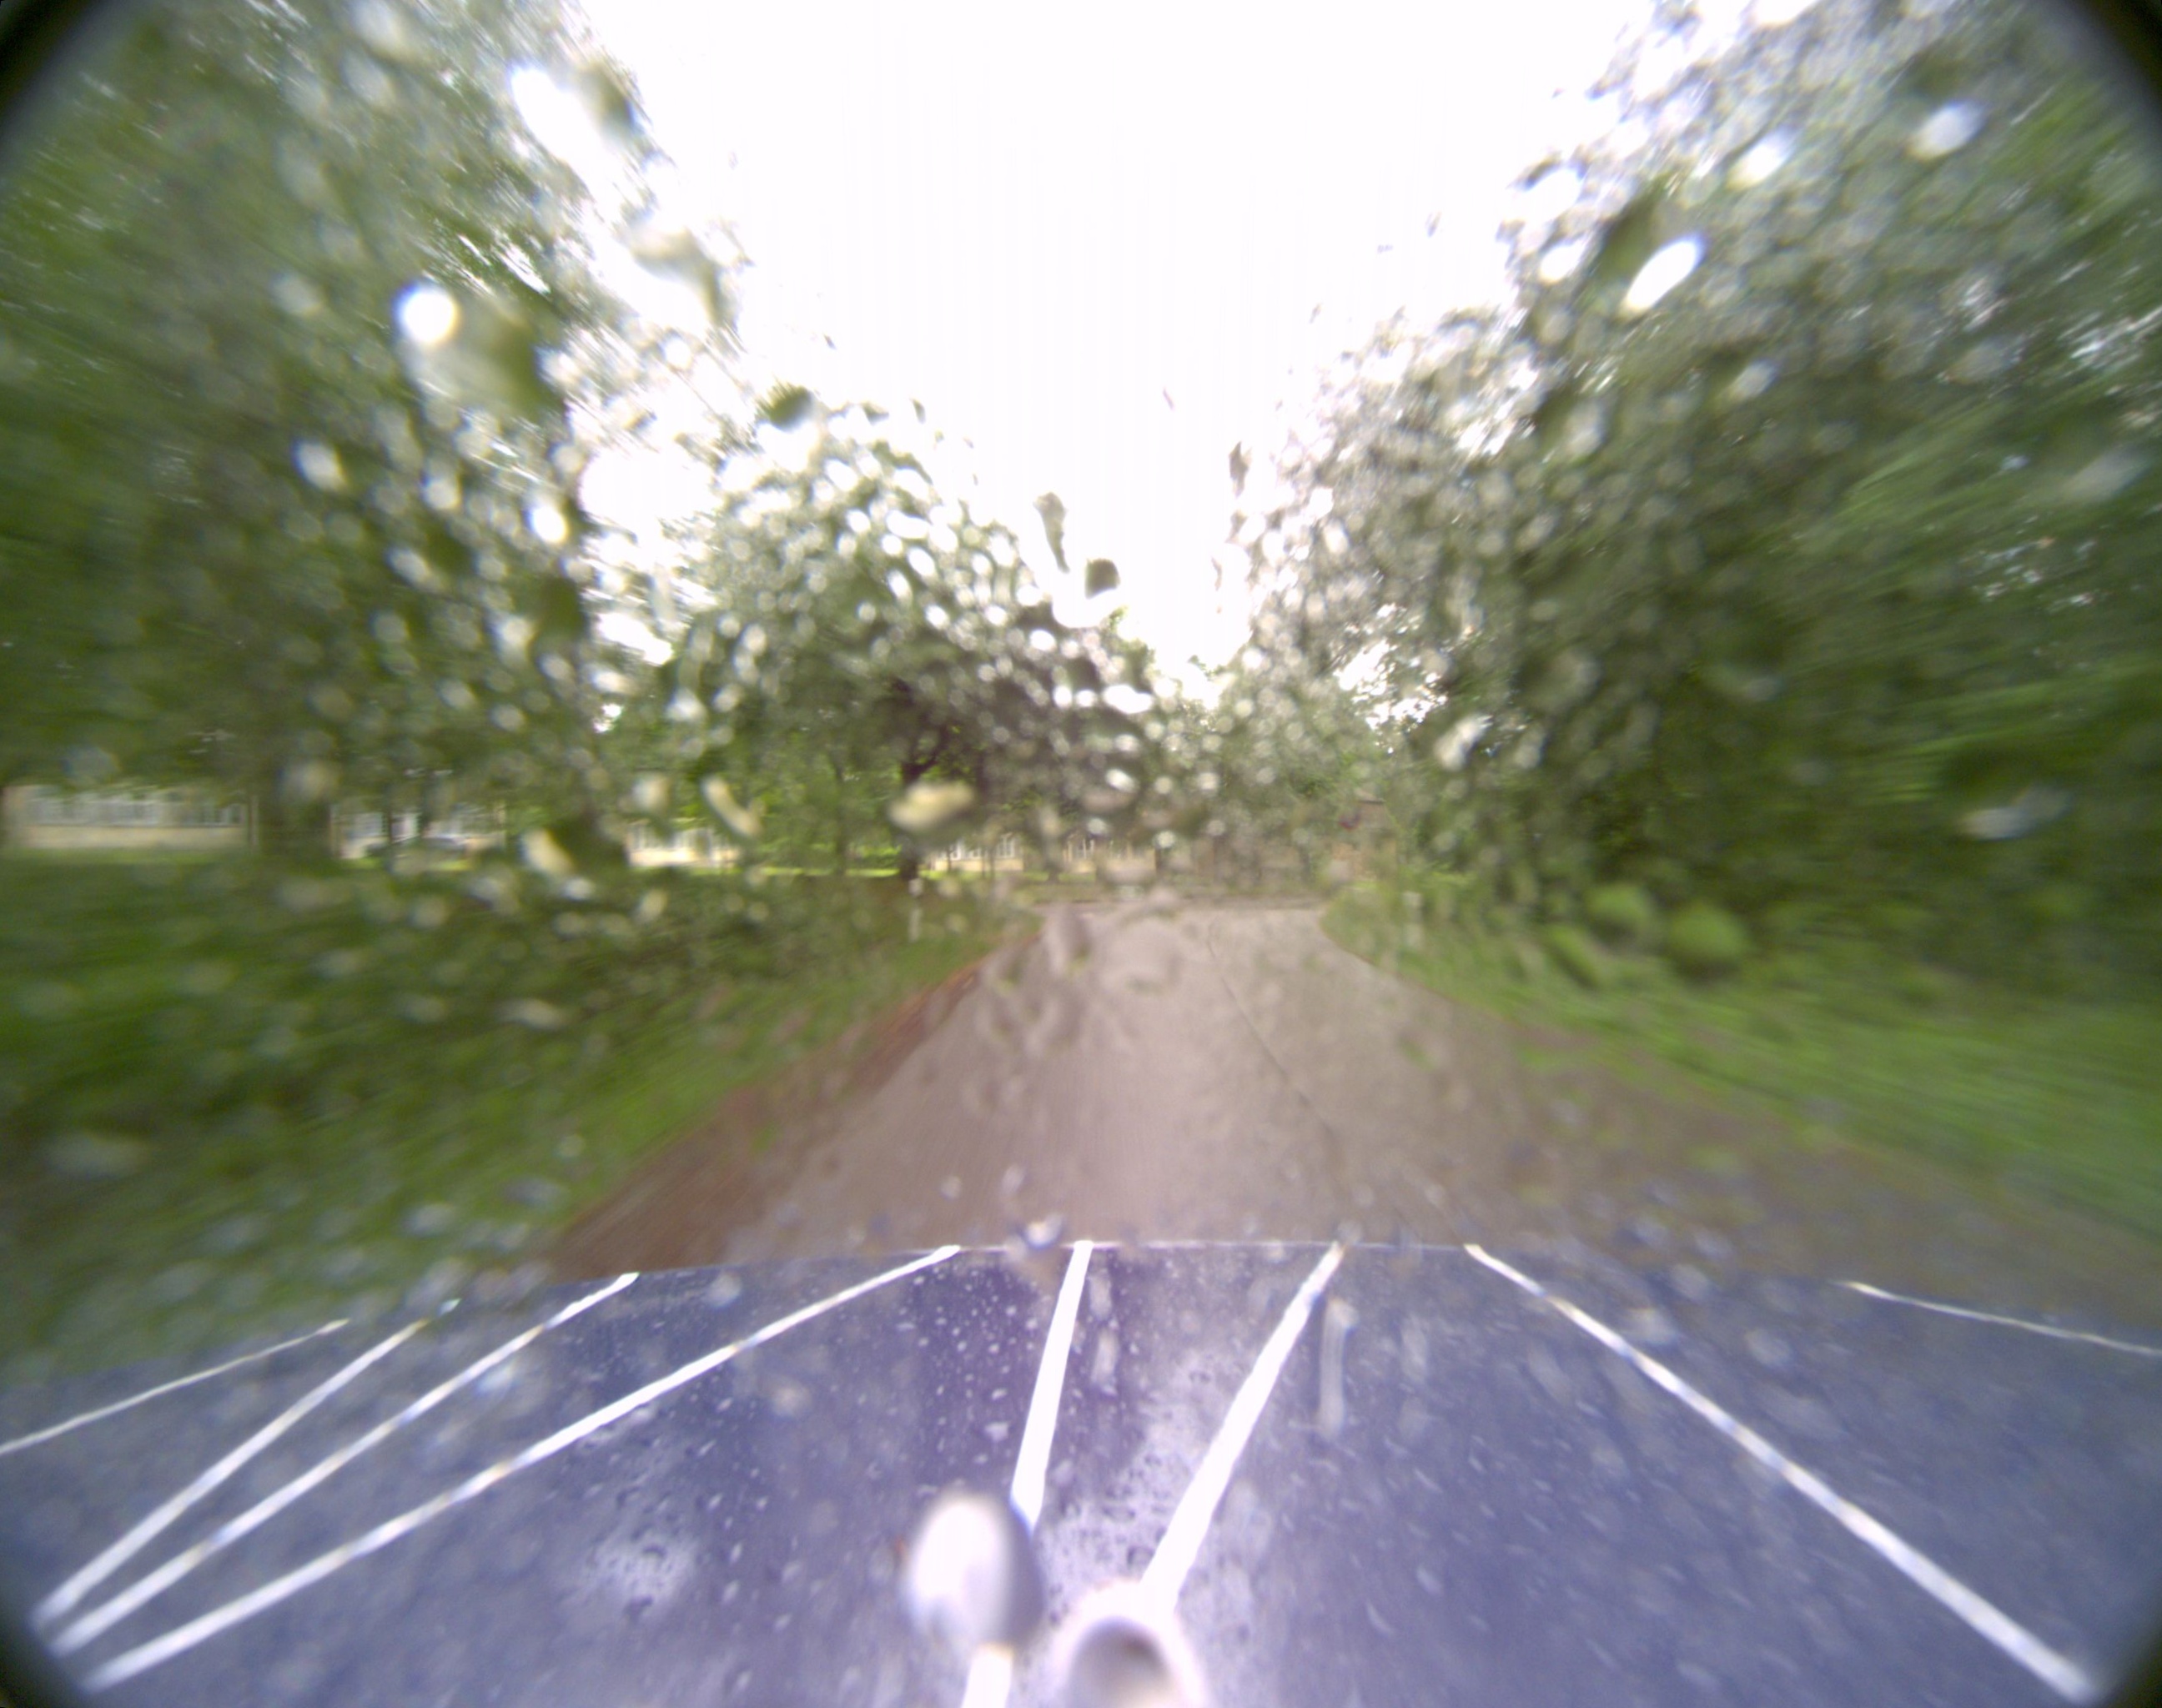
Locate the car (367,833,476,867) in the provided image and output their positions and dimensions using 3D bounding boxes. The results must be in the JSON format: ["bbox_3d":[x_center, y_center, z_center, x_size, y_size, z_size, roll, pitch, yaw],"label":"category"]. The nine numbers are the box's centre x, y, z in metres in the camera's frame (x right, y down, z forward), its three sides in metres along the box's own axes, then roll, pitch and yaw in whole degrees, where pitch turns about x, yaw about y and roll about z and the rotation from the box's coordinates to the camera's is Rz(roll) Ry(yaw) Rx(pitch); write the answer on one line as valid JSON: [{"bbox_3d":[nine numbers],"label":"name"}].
[{"bbox_3d":[-37.719,-0.171,43.508,1.994,1.824,4.576,-2,-2,45],"label":"car"}]

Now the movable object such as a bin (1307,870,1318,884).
[{"bbox_3d":[17.998,1.820,59.119,0.631,1.068,0.762,-1,-1,32],"label":"movable object such as a bin"}]

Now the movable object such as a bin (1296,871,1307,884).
[{"bbox_3d":[17.064,1.825,58.701,0.631,0.948,0.762,-1,-1,32],"label":"movable object such as a bin"}]
